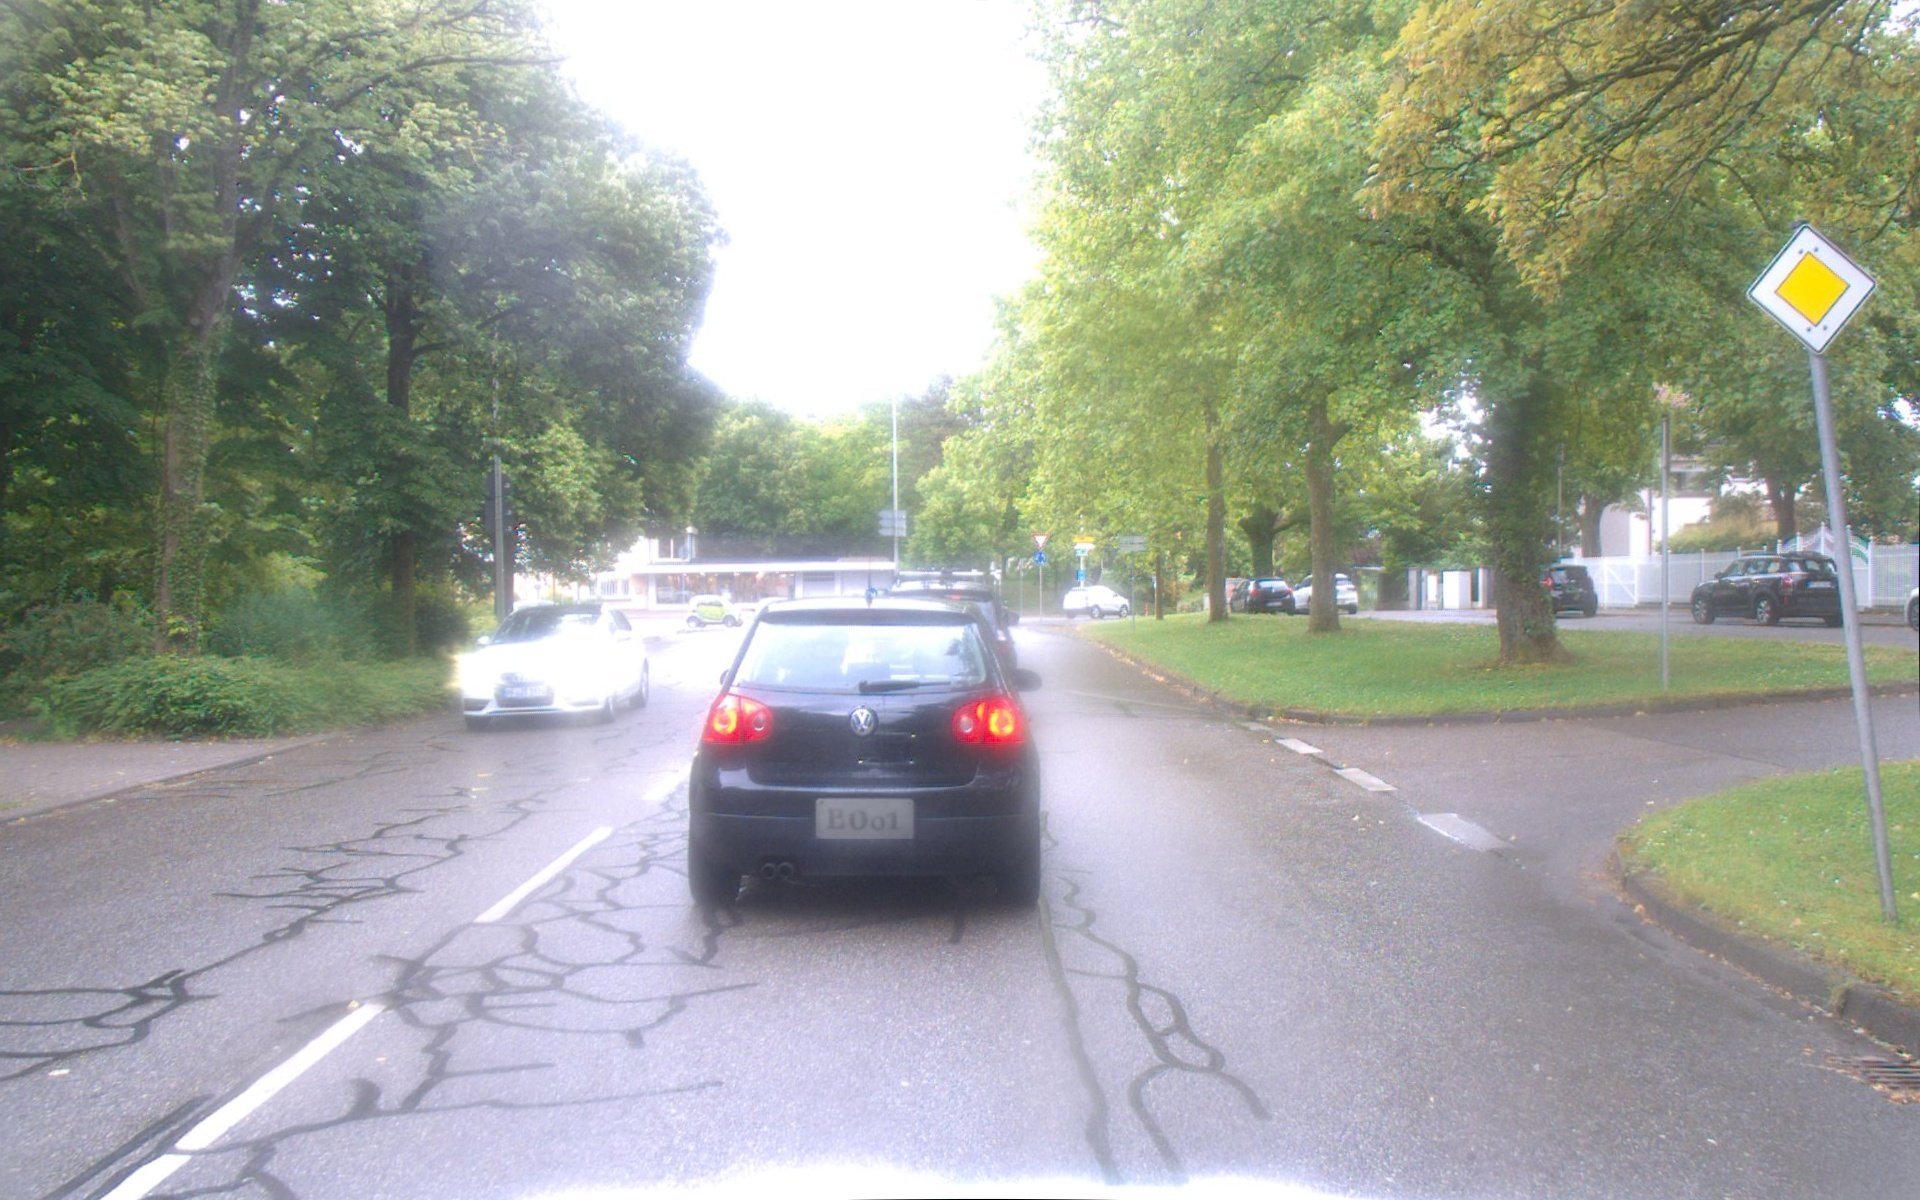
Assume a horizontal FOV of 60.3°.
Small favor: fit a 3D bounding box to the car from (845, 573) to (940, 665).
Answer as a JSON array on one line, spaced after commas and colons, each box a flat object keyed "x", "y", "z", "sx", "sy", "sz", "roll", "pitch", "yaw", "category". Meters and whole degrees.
[{"x": -1.367, "y": 0.397, "z": 35.059, "sx": 1.817, "sy": 1.816, "sz": 4.000, "roll": -1, "pitch": 0, "yaw": 0, "category": "car"}]

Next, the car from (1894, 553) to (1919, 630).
[{"x": 18.739, "y": -0.166, "z": 29.515, "sx": 1.585, "sy": 1.434, "sz": 4.006, "roll": -2, "pitch": 1, "yaw": -5, "category": "car"}]

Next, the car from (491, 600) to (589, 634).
[{"x": -19.893, "y": 0.797, "z": 78.311, "sx": 4.423, "sy": 1.444, "sz": 1.839, "roll": -2, "pitch": 0, "yaw": -16, "category": "car"}]

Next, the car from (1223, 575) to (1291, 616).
[{"x": 11.052, "y": -0.177, "z": 61.755, "sx": 1.767, "sy": 1.409, "sz": 4.000, "roll": -3, "pitch": 1, "yaw": 0, "category": "car"}]

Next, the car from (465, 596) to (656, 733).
[{"x": -4.921, "y": 0.730, "z": 20.854, "sx": 1.576, "sy": 1.452, "sz": 4.006, "roll": -2, "pitch": 1, "yaw": -3, "category": "car"}]

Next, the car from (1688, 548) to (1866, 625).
[{"x": 18.131, "y": -0.321, "z": 36.931, "sx": 1.766, "sy": 1.556, "sz": 4.110, "roll": -2, "pitch": 1, "yaw": -3, "category": "car"}]

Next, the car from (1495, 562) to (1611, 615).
[{"x": 17.504, "y": -0.354, "z": 49.036, "sx": 1.766, "sy": 1.436, "sz": 4.110, "roll": -2, "pitch": 1, "yaw": -3, "category": "car"}]

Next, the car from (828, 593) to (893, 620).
[{"x": -6.026, "y": 0.383, "z": 99.948, "sx": 3.598, "sy": 1.539, "sz": 1.706, "roll": -2, "pitch": 0, "yaw": 35, "category": "car"}]

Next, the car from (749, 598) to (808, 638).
[{"x": -7.033, "y": 0.686, "z": 63.831, "sx": 1.766, "sy": 1.417, "sz": 3.965, "roll": -3, "pitch": 0, "yaw": -13, "category": "car"}]

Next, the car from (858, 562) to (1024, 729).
[{"x": -0.205, "y": 0.499, "z": 20.354, "sx": 1.817, "sy": 1.816, "sz": 4.000, "roll": -1, "pitch": 0, "yaw": 0, "category": "car"}]

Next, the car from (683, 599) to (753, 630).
[{"x": -11.447, "y": 0.682, "z": 78.333, "sx": 3.055, "sy": 1.333, "sz": 1.540, "roll": -2, "pitch": 0, "yaw": 1, "category": "car"}]

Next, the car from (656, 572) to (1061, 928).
[{"x": -0.440, "y": 0.670, "z": 9.126, "sx": 1.762, "sy": 1.542, "sz": 3.753, "roll": 0, "pitch": 0, "yaw": 0, "category": "car"}]

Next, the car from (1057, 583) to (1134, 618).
[{"x": 7.276, "y": 0.023, "z": 88.800, "sx": 3.970, "sy": 1.735, "sz": 1.968, "roll": -2, "pitch": 0, "yaw": -44, "category": "car"}]

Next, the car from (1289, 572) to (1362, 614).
[{"x": 13.647, "y": -0.289, "z": 61.887, "sx": 1.767, "sy": 1.430, "sz": 4.000, "roll": -3, "pitch": 1, "yaw": 0, "category": "car"}]
